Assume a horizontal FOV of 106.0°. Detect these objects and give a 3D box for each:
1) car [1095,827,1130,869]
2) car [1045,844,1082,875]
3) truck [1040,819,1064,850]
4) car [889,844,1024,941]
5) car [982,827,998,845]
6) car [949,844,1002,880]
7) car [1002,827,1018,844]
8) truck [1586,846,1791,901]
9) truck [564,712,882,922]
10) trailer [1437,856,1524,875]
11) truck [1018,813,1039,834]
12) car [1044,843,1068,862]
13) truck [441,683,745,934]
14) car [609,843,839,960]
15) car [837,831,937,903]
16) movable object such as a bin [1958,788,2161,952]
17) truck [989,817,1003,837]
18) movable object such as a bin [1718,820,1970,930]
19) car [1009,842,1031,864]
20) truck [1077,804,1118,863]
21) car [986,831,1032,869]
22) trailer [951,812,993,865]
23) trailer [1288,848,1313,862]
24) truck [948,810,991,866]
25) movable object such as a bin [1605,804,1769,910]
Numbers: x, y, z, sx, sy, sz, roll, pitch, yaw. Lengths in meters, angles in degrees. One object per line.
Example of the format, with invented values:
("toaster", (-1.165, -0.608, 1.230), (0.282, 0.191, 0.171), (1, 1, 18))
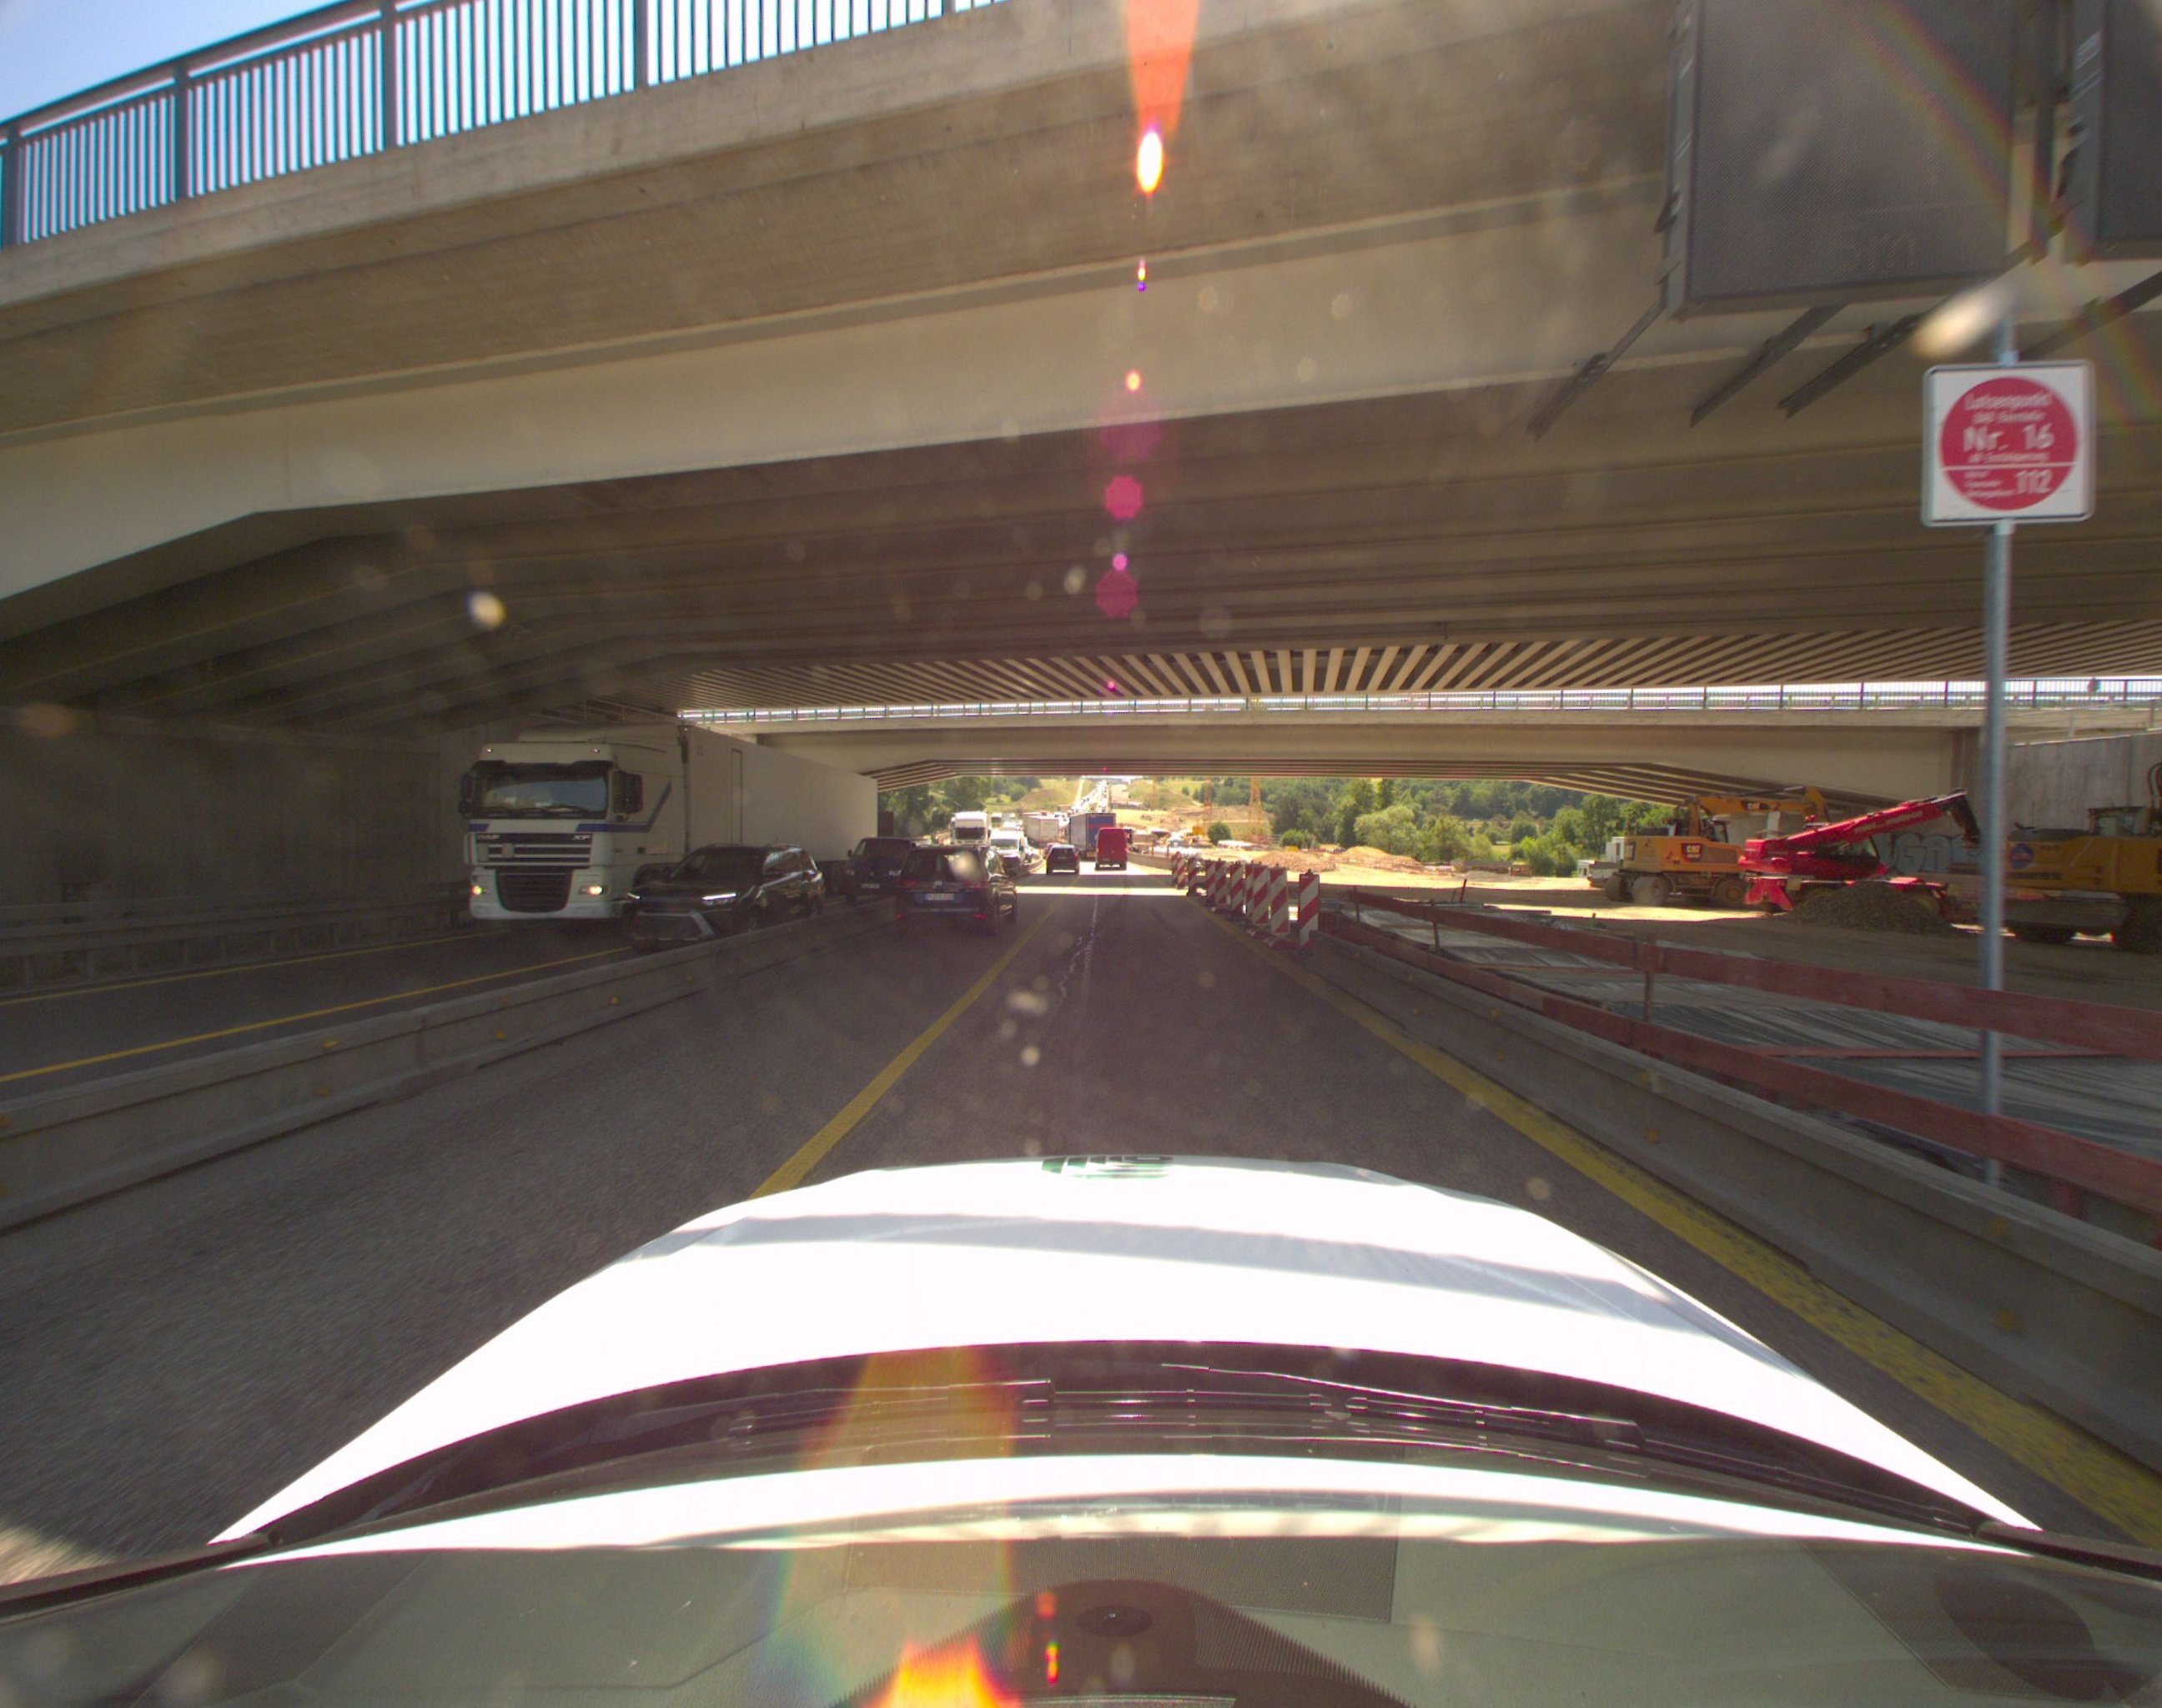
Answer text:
("car", (2.018, -0.316, 53.264), (2.142, 2.611, 5.439), (0, -1, 1))
("car", (-0.939, 0.276, 45.963), (1.827, 1.635, 4.391), (0, 1, 2))
("truck", (-3.889, -2.646, 107.908), (3.175, 3.988, 6.735), (0, 3, -3))
("car", (-2.260, 0.639, 15.958), (1.726, 1.635, 4.394), (0, 0, 4))
("car", (-13.529, -2.654, 120.424), (2.071, 2.503, 6.463), (0, 0, -9))
("car", (-4.825, 0.351, 37.896), (1.741, 1.609, 4.144), (0, 0, 3))
("car", (-10.459, -2.742, 120.189), (2.261, 2.354, 5.152), (0, 3, -5))
("truck", (25.285, 0.754, 34.168), (6.490, 2.073, 2.669), (1, 1, 5))
("truck", (-8.984, -0.669, 23.454), (2.758, 4.313, 13.495), (0, -1, 2))
("trailer", (25.929, 0.757, 53.010), (4.695, 1.219, 2.056), (0, -1, 1))
("truck", (-9.571, -5.394, 147.302), (3.216, 3.360, 8.917), (0, -1, -7))
("car", (-2.360, -0.149, 75.021), (1.832, 1.635, 4.096), (0, 2, -8))
("truck", (-9.172, -0.723, 16.116), (2.649, 4.171, 5.189), (0, -1, 2))
("car", (-5.675, 0.633, 13.661), (1.715, 1.609, 4.525), (1, 1, 2))
("car", (-5.674, 0.346, 24.509), (1.794, 1.932, 4.968), (0, 0, 0))
("movable object such as a bin", (23.077, 0.390, 17.765), (4.531, 3.287, 2.995), (2, -1, 6))
("truck", (-18.607, -5.963, 178.393), (2.618, 4.269, 4.729), (1, 2, -2))
("movable object such as a bin", (23.220, 0.603, 25.029), (5.213, 3.056, 2.500), (2, -1, 6))
("car", (-4.946, -0.098, 66.459), (1.743, 1.670, 4.074), (0, 1, -3))
("truck", (1.389, -1.850, 71.461), (2.940, 4.944, 6.732), (0, 3, -5))
("car", (-4.579, -0.254, 52.668), (1.972, 2.330, 6.065), (0, 0, 4))
("trailer", (-9.141, -1.314, 69.509), (2.872, 4.039, 14.332), (2, 1, -5))
("trailer", (24.058, 0.073, 89.510), (1.619, 1.486, 3.824), (1, 1, -1))
("truck", (-8.462, -1.197, 62.150), (2.869, 4.050, 4.877), (2, 1, -5))
("movable object such as a bin", (21.532, 0.100, 29.168), (3.855, 3.543, 2.913), (1, -1, 13))
